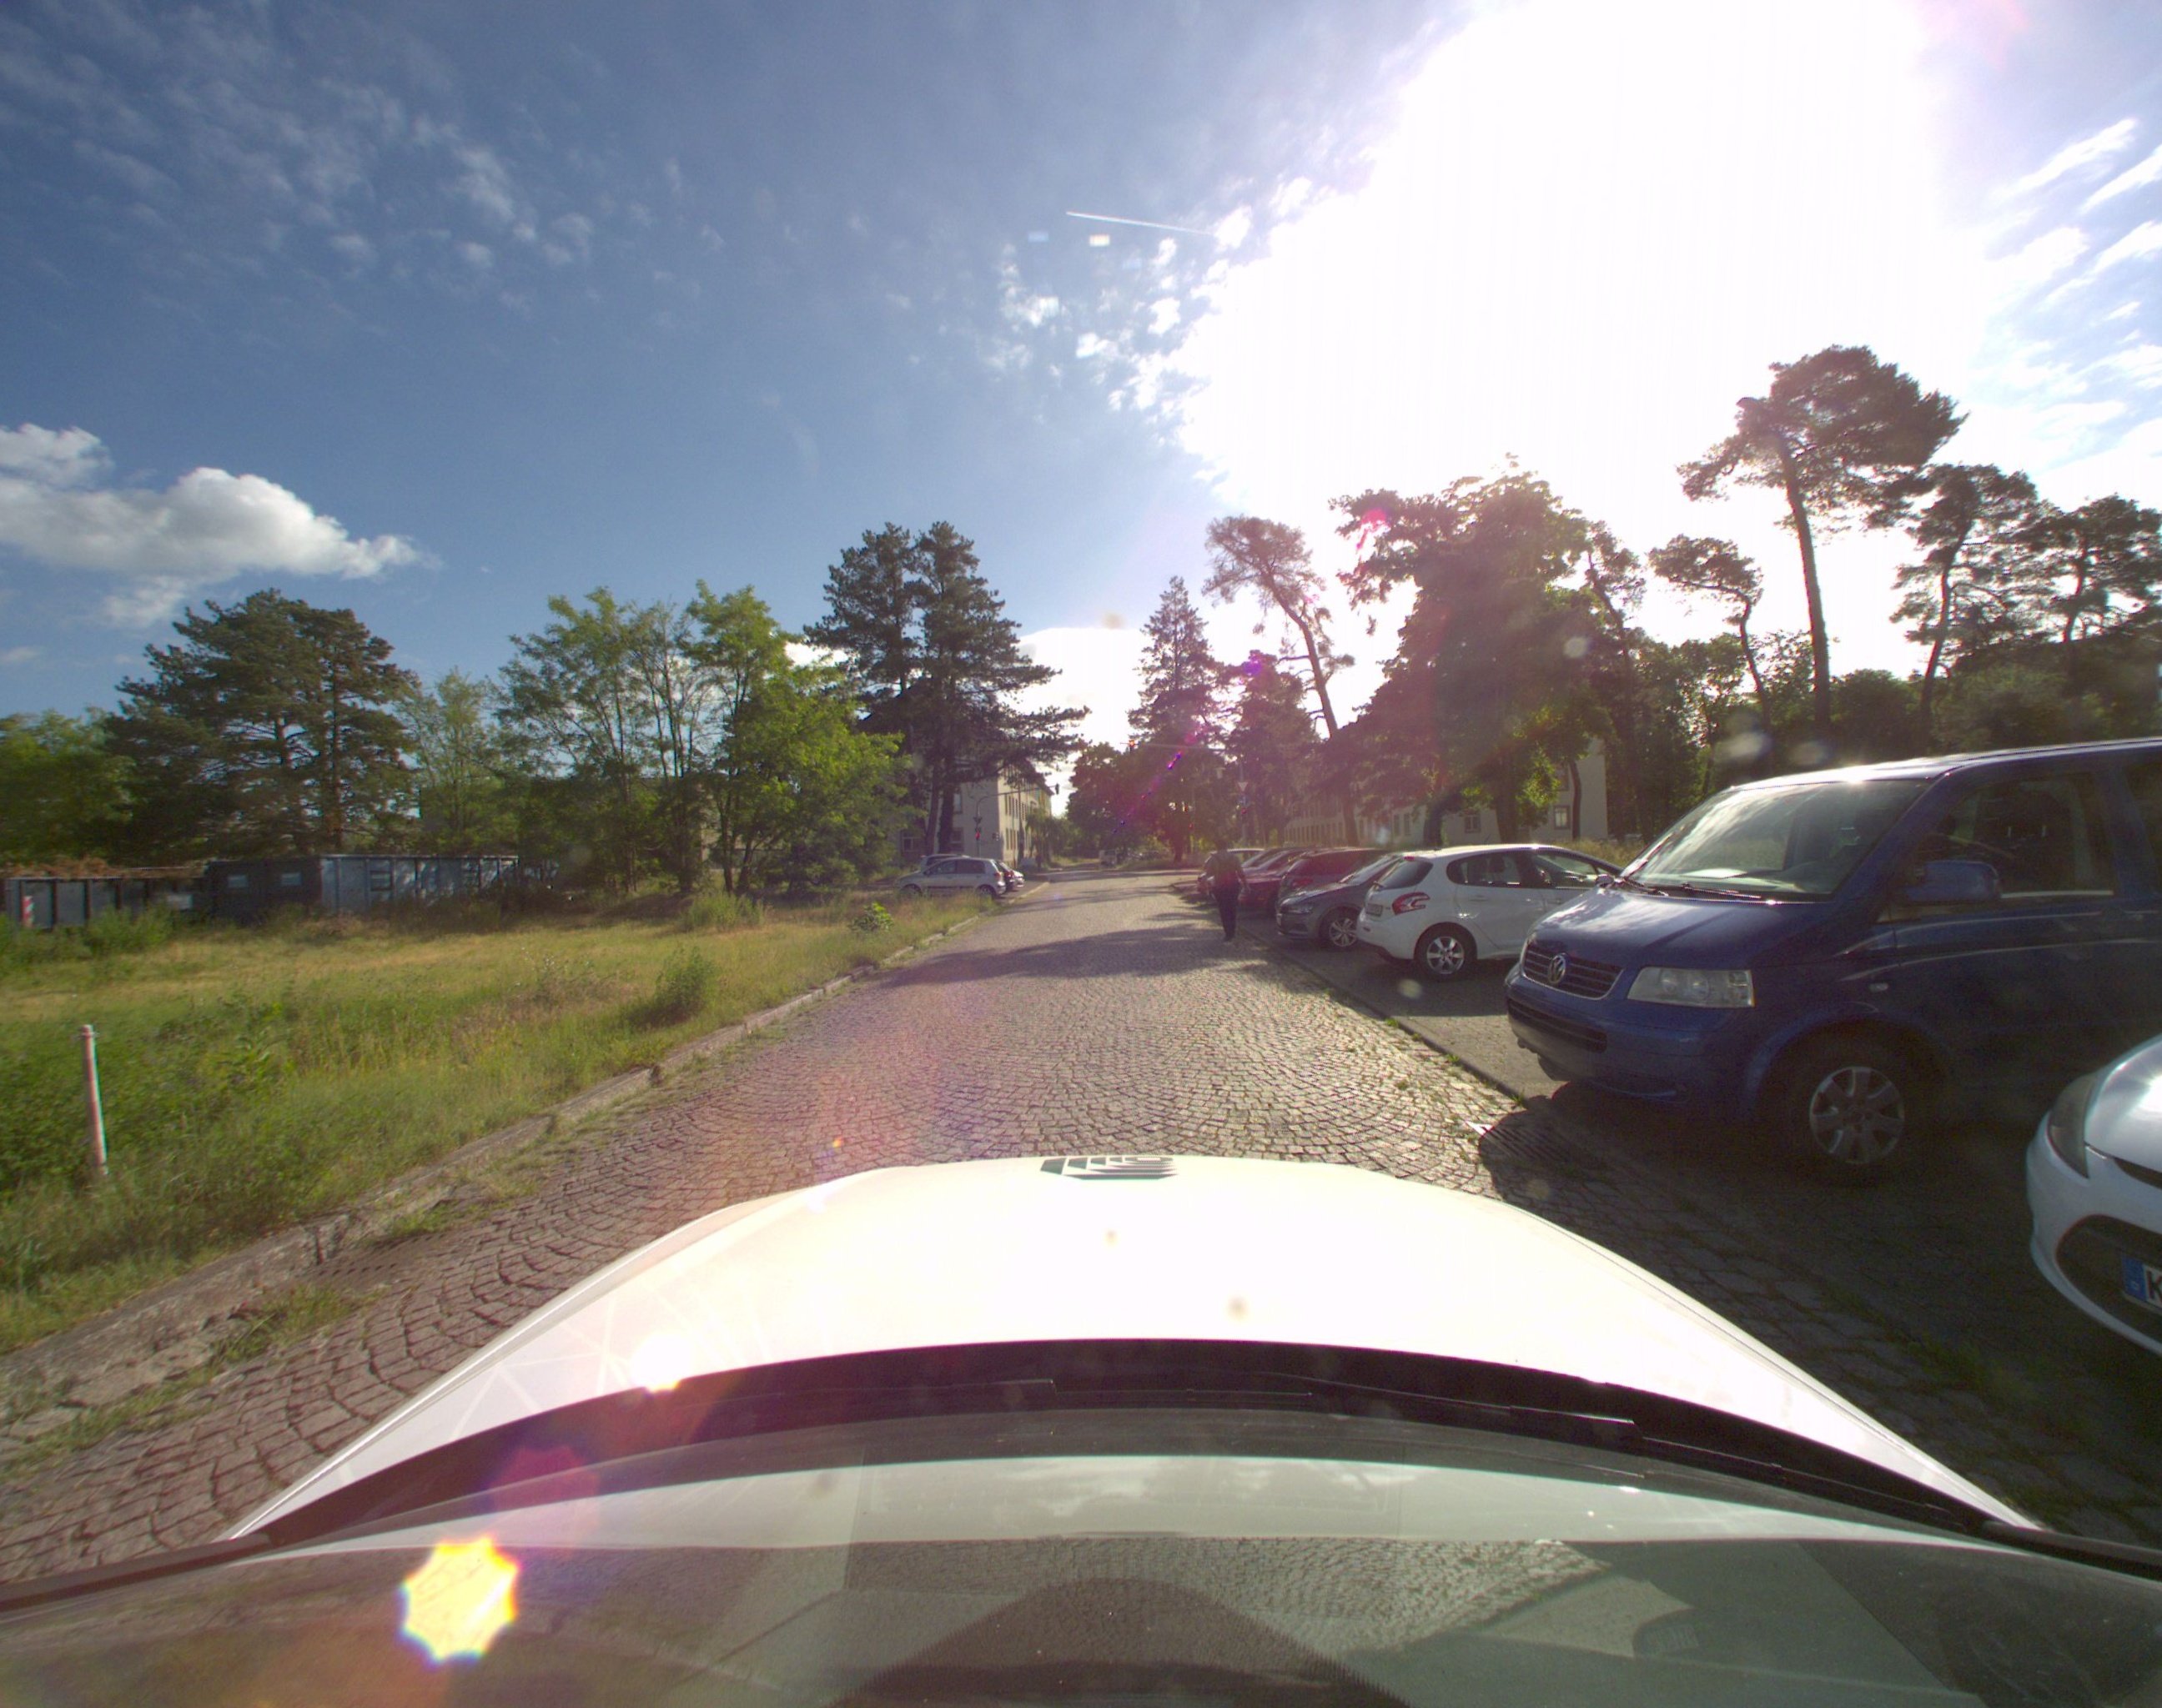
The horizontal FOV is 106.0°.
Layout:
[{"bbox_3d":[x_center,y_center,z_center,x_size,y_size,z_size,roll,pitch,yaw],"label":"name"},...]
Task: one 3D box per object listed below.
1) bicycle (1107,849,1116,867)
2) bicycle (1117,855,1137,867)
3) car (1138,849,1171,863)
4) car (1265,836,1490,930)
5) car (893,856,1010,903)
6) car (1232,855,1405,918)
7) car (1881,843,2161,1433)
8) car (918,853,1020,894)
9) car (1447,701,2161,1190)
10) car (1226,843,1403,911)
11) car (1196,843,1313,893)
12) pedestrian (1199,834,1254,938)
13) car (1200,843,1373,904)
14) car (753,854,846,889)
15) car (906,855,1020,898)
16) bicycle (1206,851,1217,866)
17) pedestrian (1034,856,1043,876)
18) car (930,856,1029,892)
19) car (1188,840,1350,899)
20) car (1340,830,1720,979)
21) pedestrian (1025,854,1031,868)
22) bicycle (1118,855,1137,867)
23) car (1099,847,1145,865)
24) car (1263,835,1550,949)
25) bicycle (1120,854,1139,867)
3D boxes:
[{"bbox_3d":[2.766,0.378,73.815,0.750,1.580,2.538,-2,0,2],"label":"bicycle"},{"bbox_3d":[4.321,0.647,77.235,1.829,1.112,0.495,-2,0,-2],"label":"bicycle"},{"bbox_3d":[8.879,0.273,98.955,3.738,1.580,1.738,-2,0,-6],"label":"car"},{"bbox_3d":[5.569,0.521,15.637,3.649,1.455,1.667,-4,0,2],"label":"car"},{"bbox_3d":[-4.342,0.829,27.639,3.674,1.527,1.699,0,0,-1],"label":"car"},{"bbox_3d":[5.228,0.698,18.227,3.447,1.242,1.537,-2,0,2],"label":"car"},{"bbox_3d":[4.585,0.640,1.961,3.708,1.466,1.609,-4,0,-1],"label":"car"},{"bbox_3d":[-4.485,0.759,32.977,3.866,1.615,1.661,0,0,0],"label":"car"},{"bbox_3d":[4.929,0.323,4.582,4.736,2.013,2.001,-4,0,2],"label":"car"},{"bbox_3d":[5.812,0.550,20.603,3.965,1.448,1.656,-3,0,1],"label":"car"},{"bbox_3d":[5.961,0.458,28.204,3.659,1.443,1.666,-4,0,2],"label":"car"},{"bbox_3d":[2.514,0.541,14.136,0.750,1.725,0.829,3,0,2],"label":"pedestrian"},{"bbox_3d":[5.687,0.519,22.921,4.384,1.388,1.789,-4,0,0],"label":"car"},{"bbox_3d":[-14.854,0.921,43.132,4.127,1.608,2.011,-2,0,3],"label":"car"},{"bbox_3d":[-4.332,0.816,30.302,3.924,1.445,1.691,1,0,0],"label":"car"},{"bbox_3d":[10.453,0.334,65.161,0.717,1.115,2.592,-2,0,12],"label":"bicycle"},{"bbox_3d":[-3.724,1.056,71.118,0.607,1.752,0.628,-2,0,-11],"label":"pedestrian"},{"bbox_3d":[-4.420,0.855,35.700,3.966,1.496,1.776,0,0,6],"label":"car"},{"bbox_3d":[5.856,0.458,25.757,4.605,1.455,1.869,-4,0,-1],"label":"car"},{"bbox_3d":[5.212,0.563,9.822,3.630,1.492,1.635,-3,0,2],"label":"car"},{"bbox_3d":[-5.994,0.803,91.592,0.606,1.559,0.544,-2,0,-5],"label":"pedestrian"},{"bbox_3d":[4.409,0.644,77.778,1.722,1.112,0.484,-2,0,-2],"label":"bicycle"},{"bbox_3d":[4.749,0.234,95.145,5.063,1.918,1.995,-2,0,-8],"label":"car"},{"bbox_3d":[4.926,0.553,12.765,3.765,1.450,1.759,-4,0,3],"label":"car"},{"bbox_3d":[4.669,0.598,78.453,1.722,1.164,0.561,-2,0,-2],"label":"bicycle"}]
